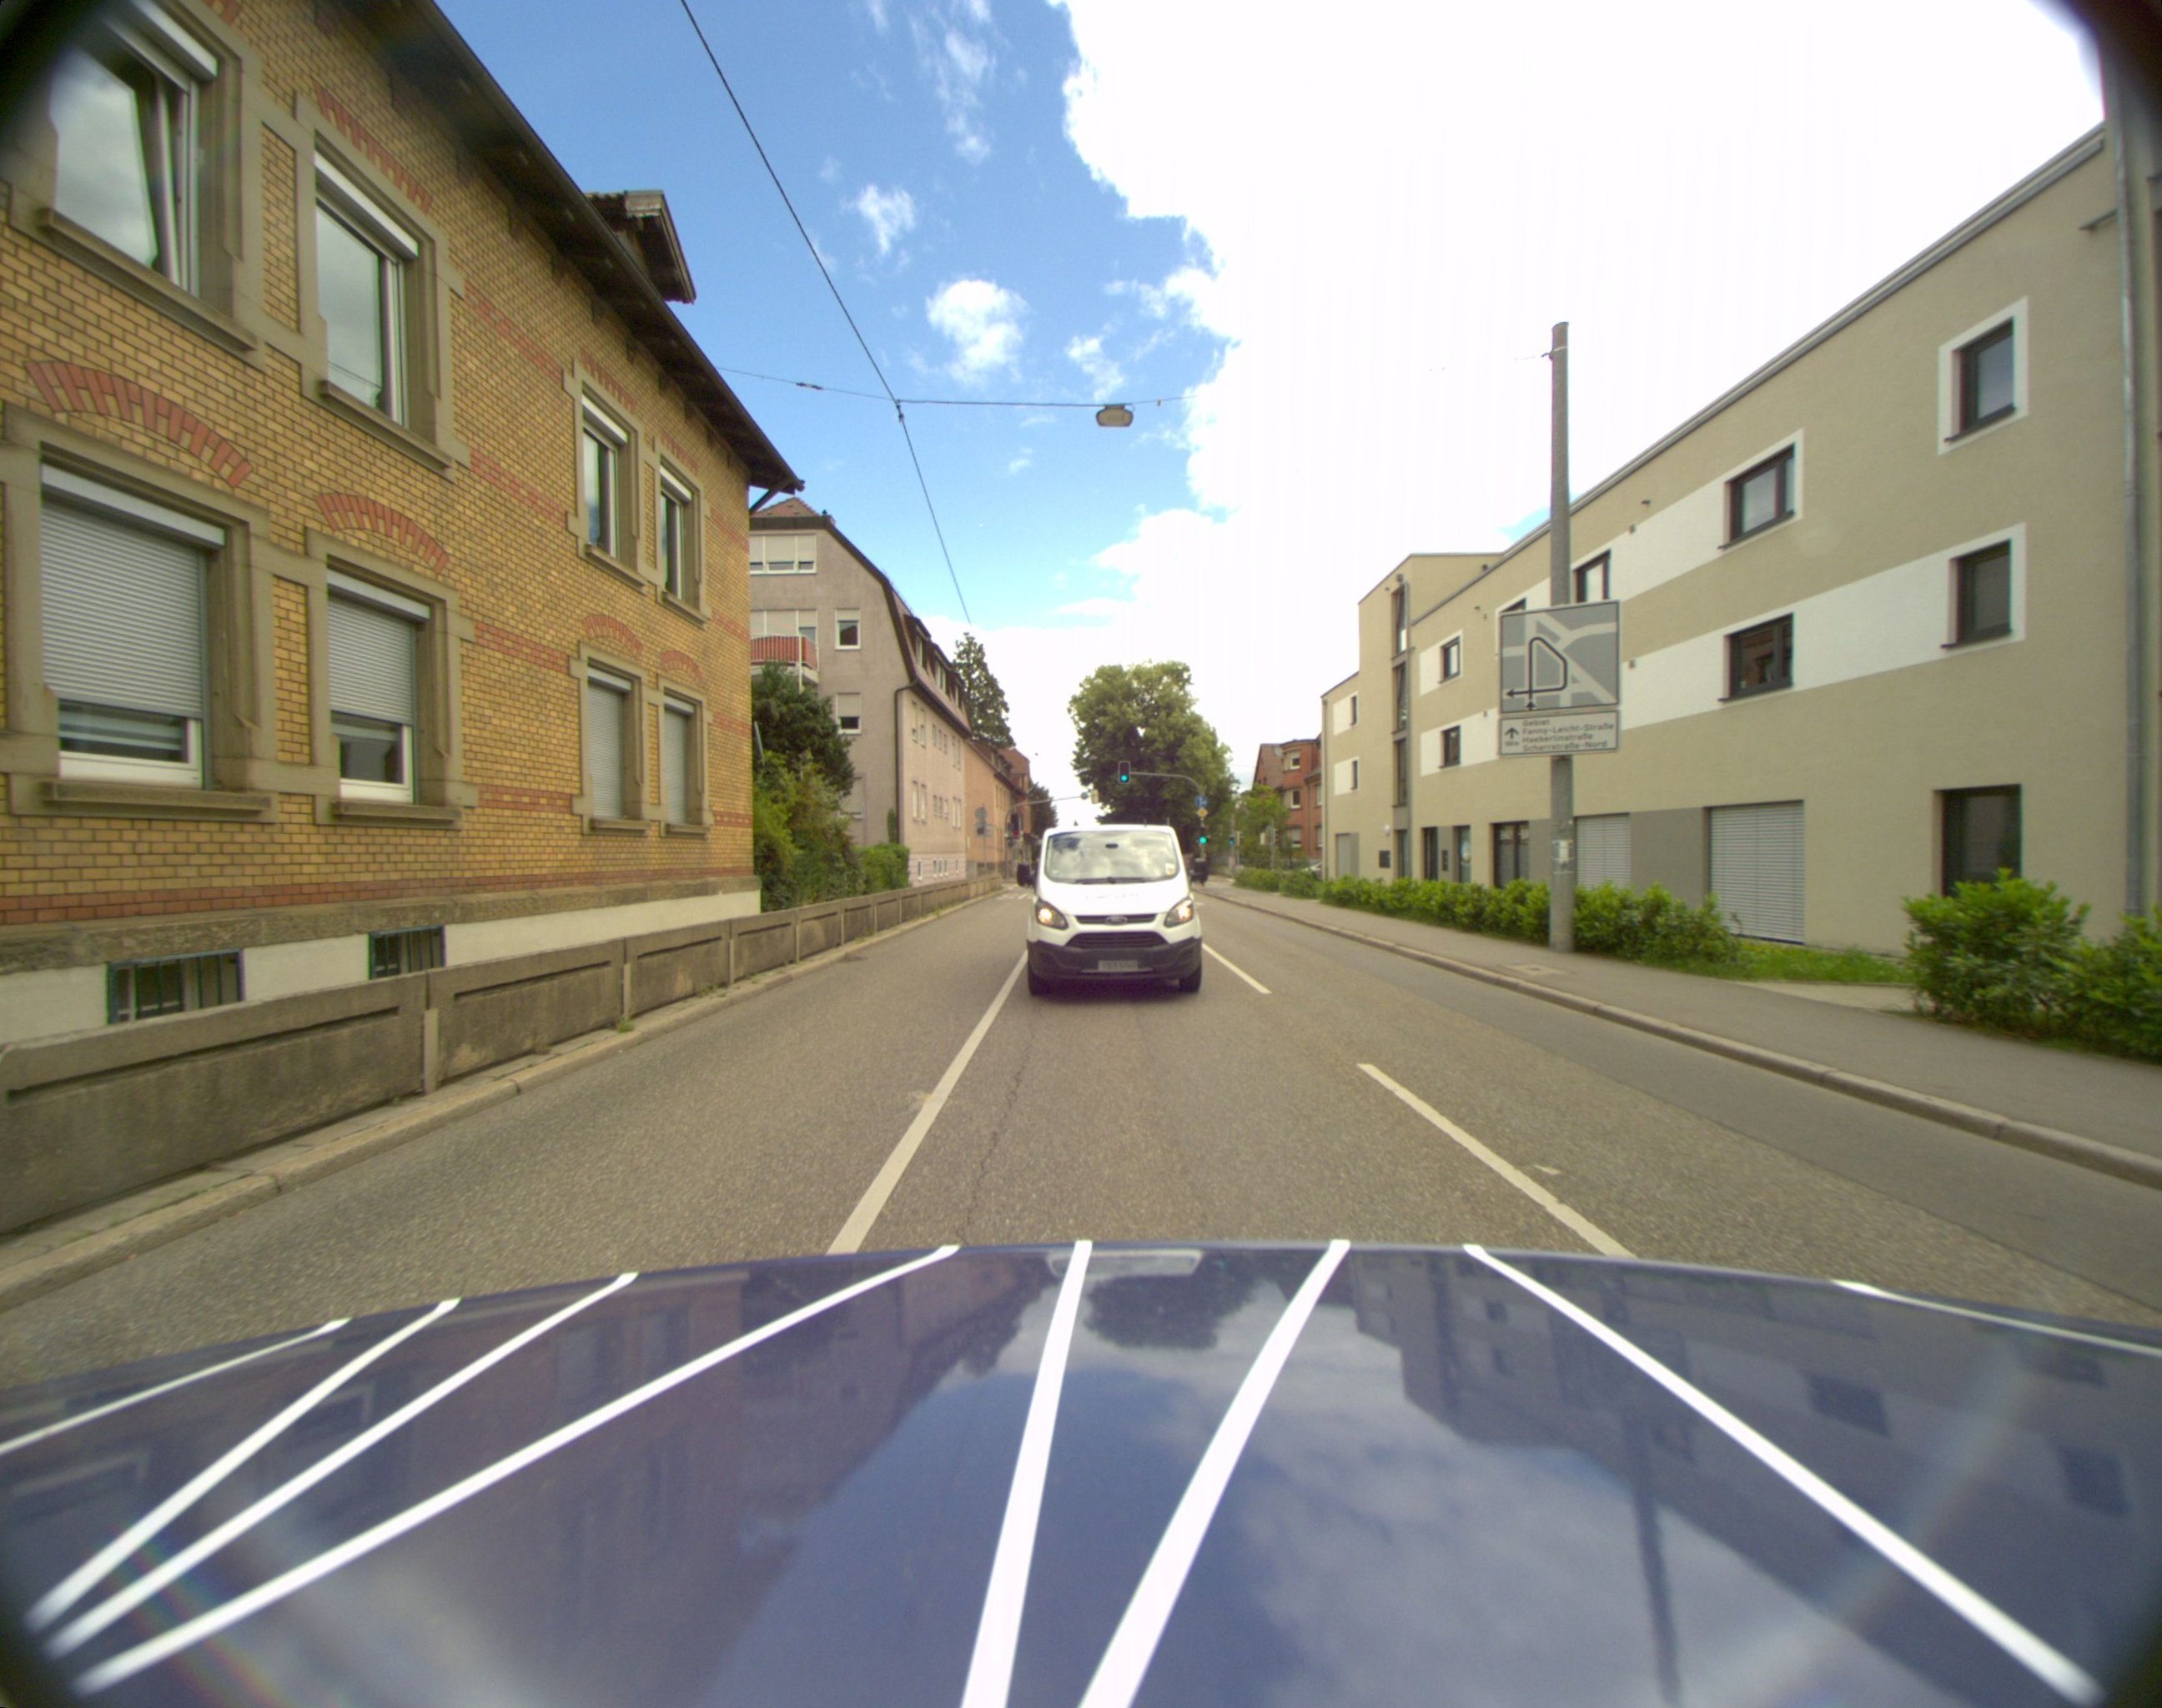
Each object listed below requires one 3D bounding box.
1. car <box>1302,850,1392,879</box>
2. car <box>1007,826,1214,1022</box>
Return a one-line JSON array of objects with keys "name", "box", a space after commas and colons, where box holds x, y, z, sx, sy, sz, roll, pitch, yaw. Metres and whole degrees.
[{"name": "car", "box": [16.509, 0.655, 47.261, 4.813, 1.675, 2.174, -1, 0, -4]}, {"name": "car", "box": [0.302, 0.698, 10.213, 2.062, 1.945, 5.060, -1, 0, 0]}]
